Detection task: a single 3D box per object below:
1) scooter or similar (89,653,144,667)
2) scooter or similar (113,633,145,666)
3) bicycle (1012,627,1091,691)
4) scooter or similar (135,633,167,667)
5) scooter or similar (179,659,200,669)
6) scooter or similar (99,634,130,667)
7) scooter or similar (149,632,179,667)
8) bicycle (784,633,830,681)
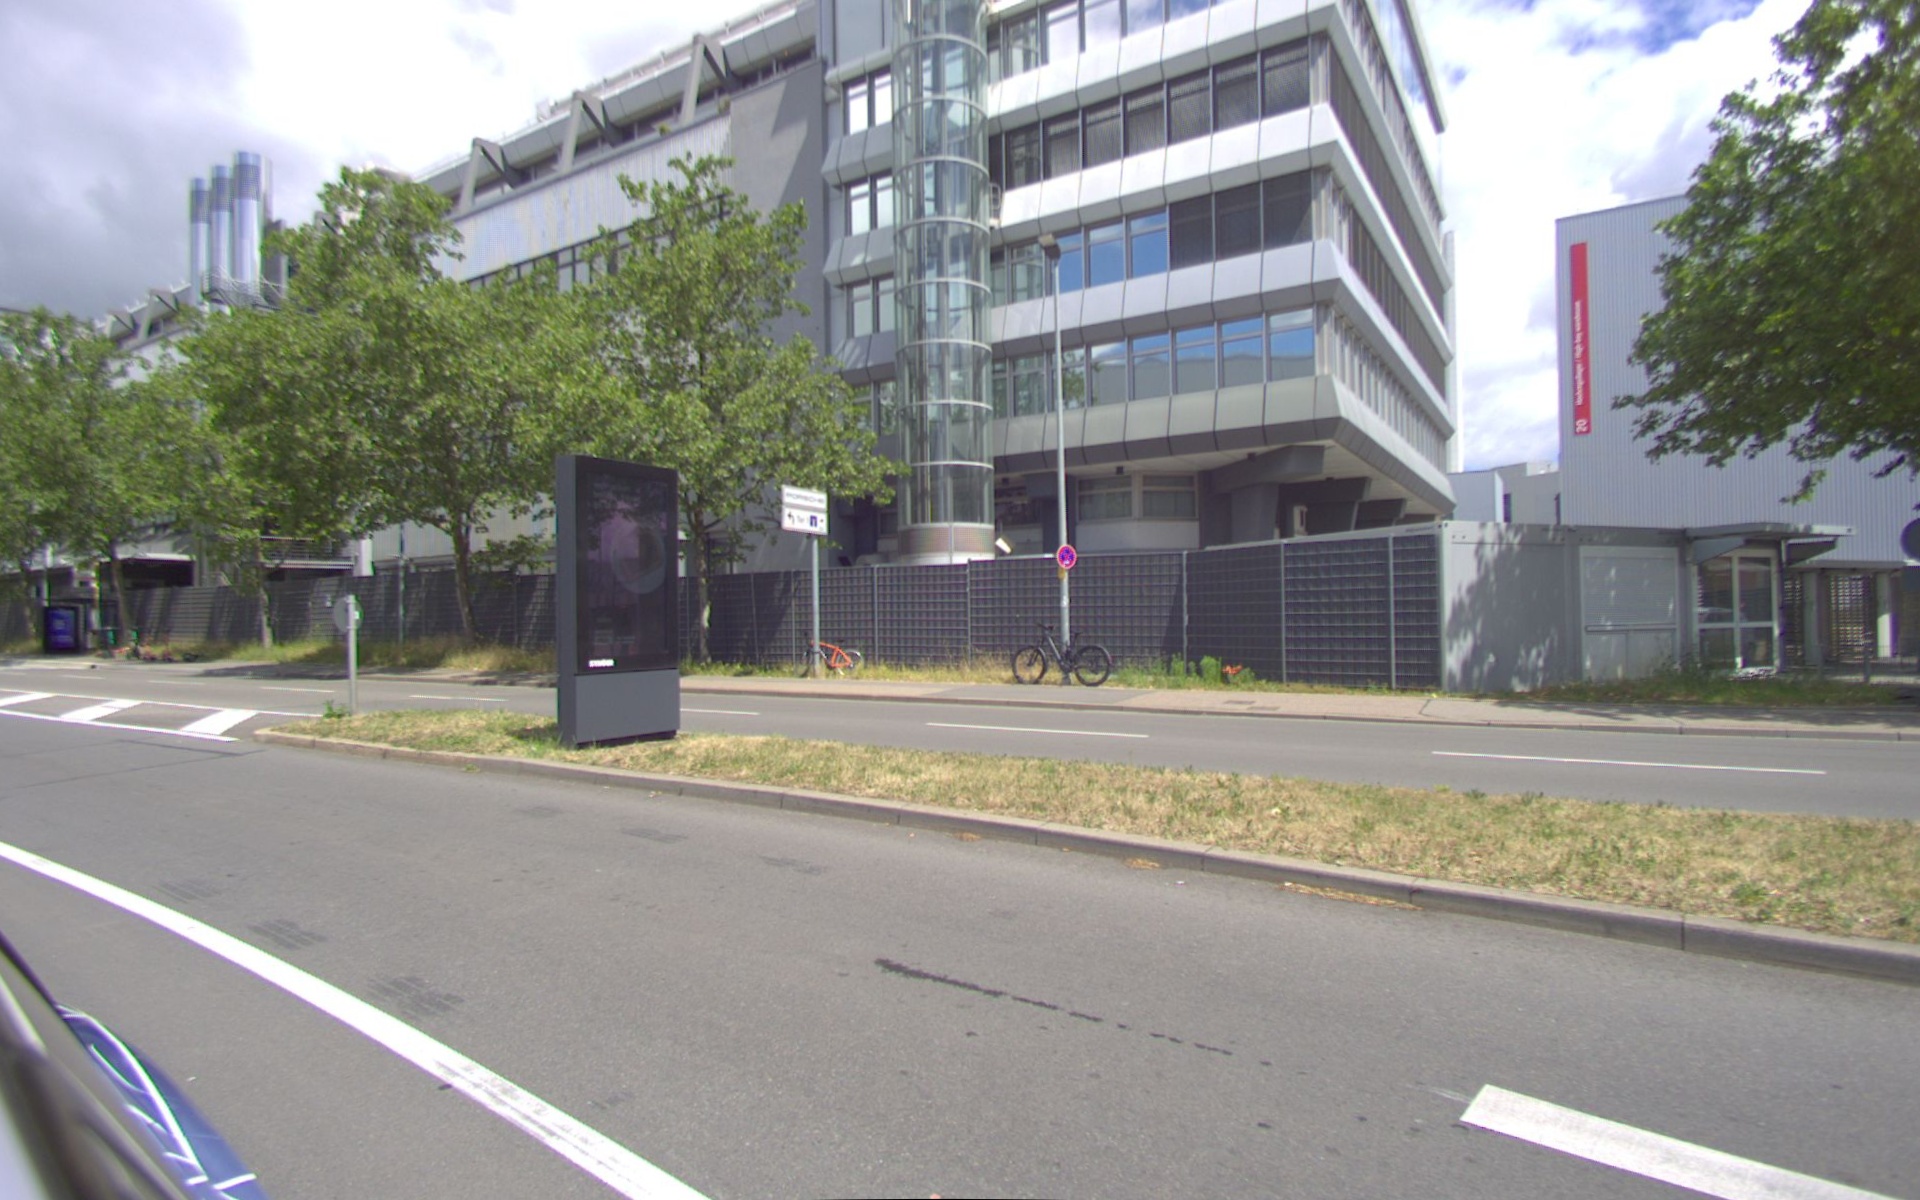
[{"bbox_3d":[-34.806,2.466,41.784,1.341,0.383,1.495,-4,2,-22],"label":"scooter or similar"},{"bbox_3d":[-32.588,1.955,39.679,1.313,1.244,0.519,-2,2,32],"label":"scooter or similar"},{"bbox_3d":[1.681,1.073,18.702,1.481,1.140,0.294,-1,1,36],"label":"bicycle"},{"bbox_3d":[-30.753,1.896,38.466,1.314,1.244,0.519,-2,2,34],"label":"scooter or similar"},{"bbox_3d":[-28.675,2.380,37.664,0.530,0.325,1.276,-2,0,-33],"label":"scooter or similar"},{"bbox_3d":[-33.853,2.015,40.526,1.313,1.244,0.519,-2,2,32],"label":"scooter or similar"},{"bbox_3d":[-29.630,1.832,37.667,1.316,1.244,0.518,-2,2,39],"label":"scooter or similar"},{"bbox_3d":[-3.423,1.259,22.630,1.252,1.013,0.293,0,1,43],"label":"bicycle"}]
